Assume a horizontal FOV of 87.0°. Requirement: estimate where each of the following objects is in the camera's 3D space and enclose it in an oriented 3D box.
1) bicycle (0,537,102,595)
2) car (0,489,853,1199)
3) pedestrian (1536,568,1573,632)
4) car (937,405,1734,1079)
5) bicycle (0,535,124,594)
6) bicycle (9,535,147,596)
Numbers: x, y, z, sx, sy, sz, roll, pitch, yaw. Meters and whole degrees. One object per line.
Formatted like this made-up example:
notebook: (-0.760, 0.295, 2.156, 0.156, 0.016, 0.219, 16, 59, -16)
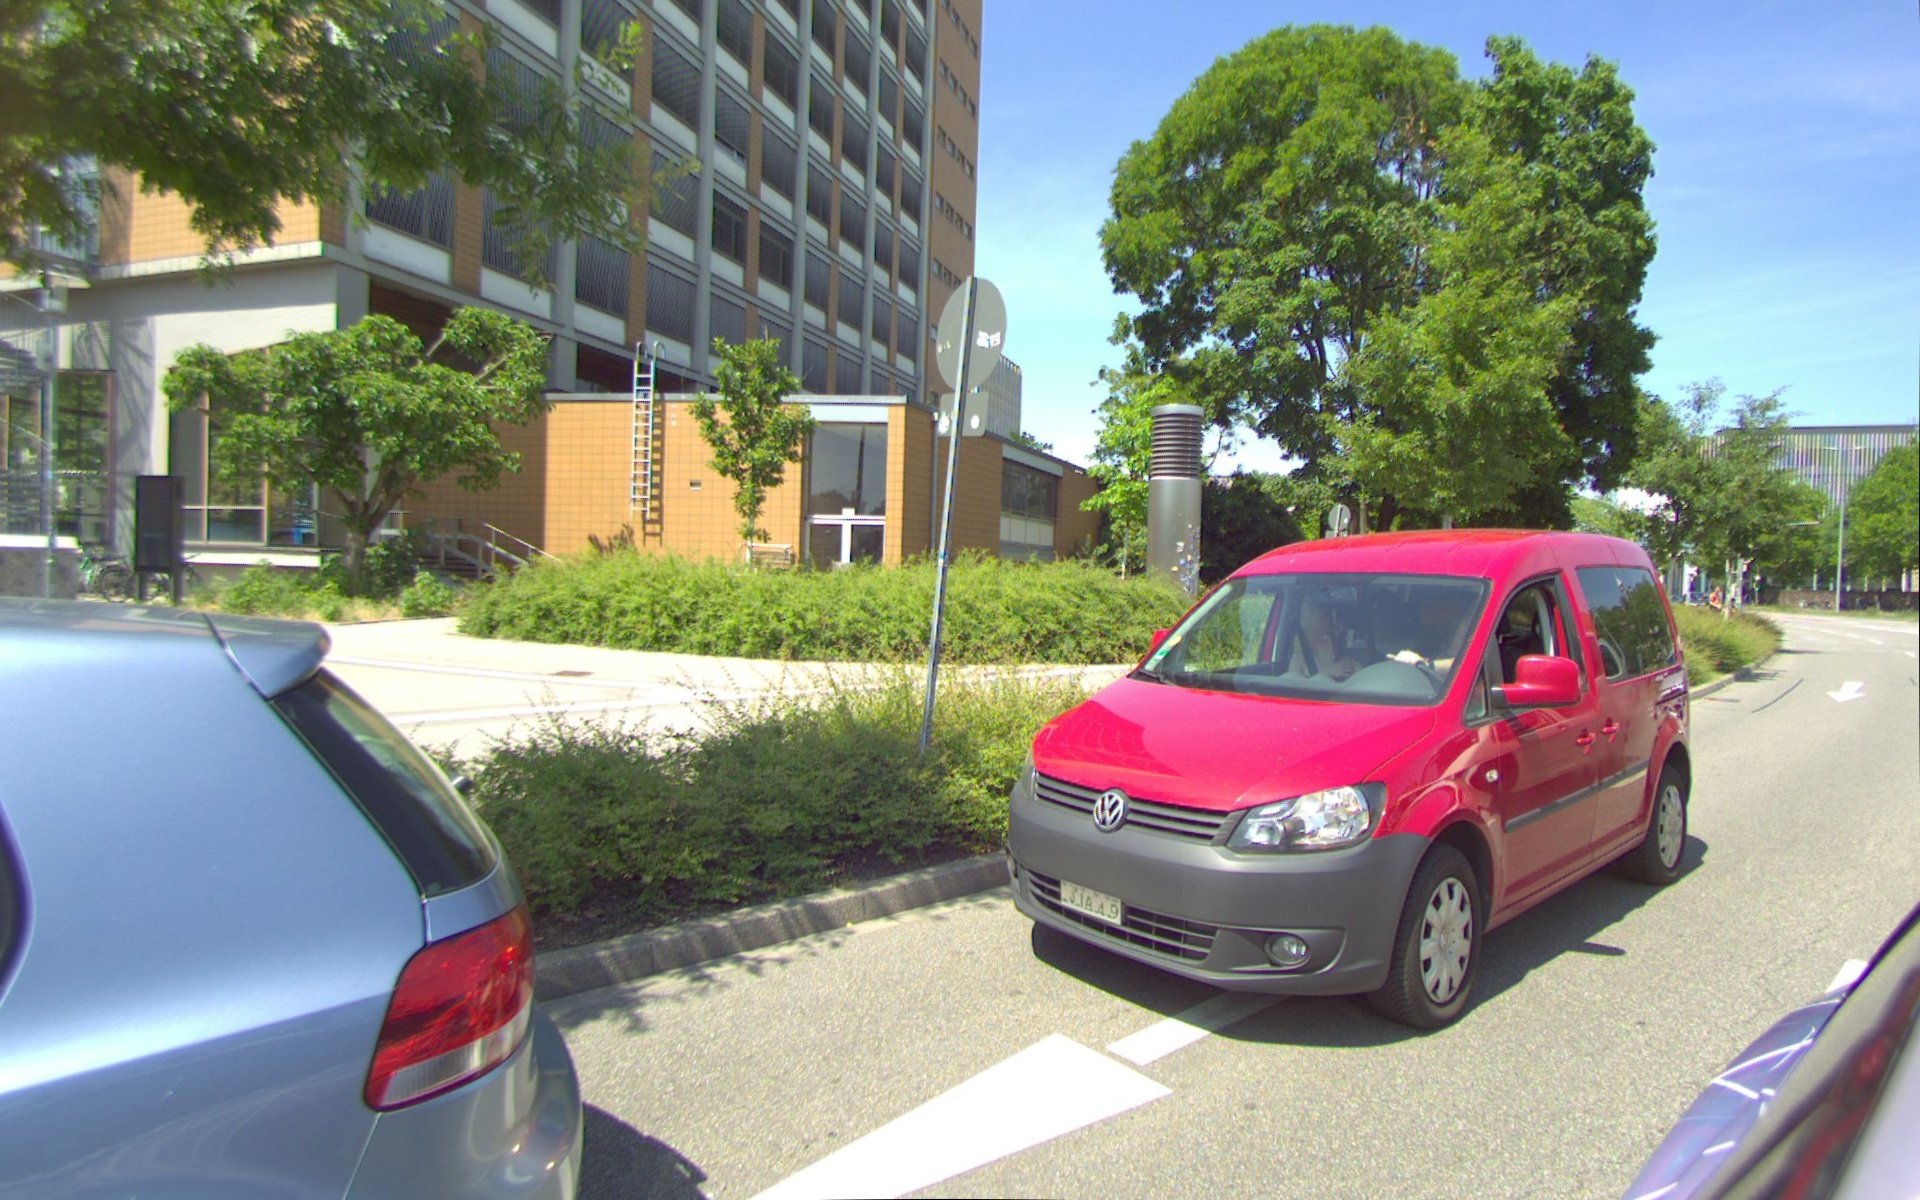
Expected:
bicycle: (-20.478, -0.739, 22.428, 0.630, 1.233, 2.201, 0, 1, 22)
car: (-2.189, 0.614, 1.074, 3.936, 1.477, 1.653, 0, 0, -43)
pedestrian: (17.462, -0.009, 29.738, 0.603, 1.820, 0.728, 1, 1, -40)
car: (2.144, 0.383, 4.914, 4.465, 1.882, 1.654, 0, 1, -40)
bicycle: (-19.786, -0.750, 22.198, 0.630, 1.233, 2.201, 0, 1, 22)
bicycle: (-18.978, -0.719, 21.846, 0.630, 1.233, 2.201, 0, 1, 22)
